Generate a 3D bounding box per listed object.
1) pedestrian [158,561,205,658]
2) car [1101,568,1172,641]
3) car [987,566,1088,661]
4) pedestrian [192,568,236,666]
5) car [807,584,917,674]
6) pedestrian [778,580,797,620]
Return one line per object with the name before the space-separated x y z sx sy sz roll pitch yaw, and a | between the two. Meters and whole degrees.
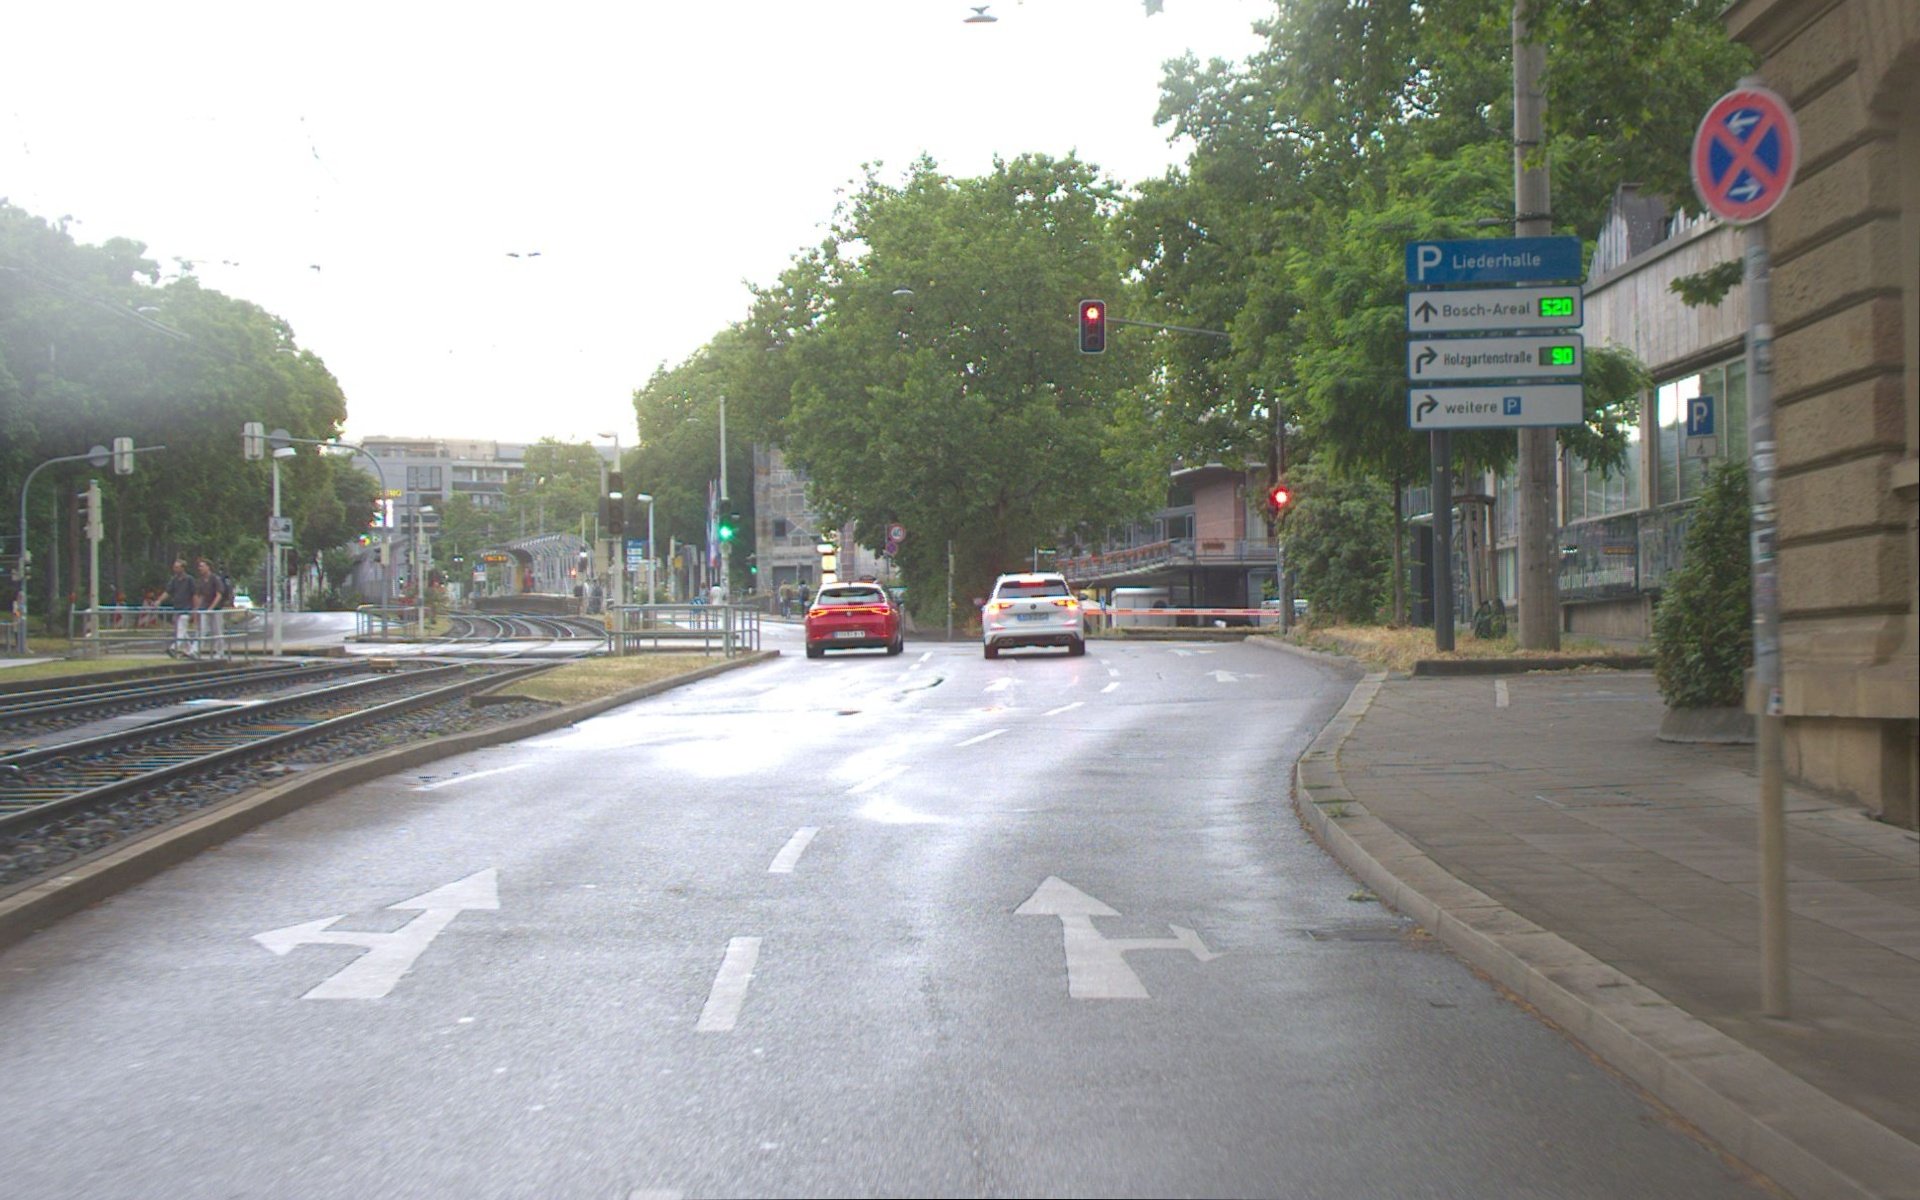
pedestrian | -14.470 0.176 63.912 0.639 1.782 0.811 1 -1 -26
car | 7.748 0.222 151.121 2.544 3.123 5.031 1 -1 -3
car | 1.387 0.215 60.651 1.679 1.571 4.253 -1 0 2
pedestrian | -13.725 0.323 63.277 0.638 1.782 0.811 1 -1 -21
car | -1.832 0.567 65.367 1.980 1.634 4.416 1 -1 -1
pedestrian | -7.794 0.005 155.132 0.756 1.817 0.701 1 -1 -11
